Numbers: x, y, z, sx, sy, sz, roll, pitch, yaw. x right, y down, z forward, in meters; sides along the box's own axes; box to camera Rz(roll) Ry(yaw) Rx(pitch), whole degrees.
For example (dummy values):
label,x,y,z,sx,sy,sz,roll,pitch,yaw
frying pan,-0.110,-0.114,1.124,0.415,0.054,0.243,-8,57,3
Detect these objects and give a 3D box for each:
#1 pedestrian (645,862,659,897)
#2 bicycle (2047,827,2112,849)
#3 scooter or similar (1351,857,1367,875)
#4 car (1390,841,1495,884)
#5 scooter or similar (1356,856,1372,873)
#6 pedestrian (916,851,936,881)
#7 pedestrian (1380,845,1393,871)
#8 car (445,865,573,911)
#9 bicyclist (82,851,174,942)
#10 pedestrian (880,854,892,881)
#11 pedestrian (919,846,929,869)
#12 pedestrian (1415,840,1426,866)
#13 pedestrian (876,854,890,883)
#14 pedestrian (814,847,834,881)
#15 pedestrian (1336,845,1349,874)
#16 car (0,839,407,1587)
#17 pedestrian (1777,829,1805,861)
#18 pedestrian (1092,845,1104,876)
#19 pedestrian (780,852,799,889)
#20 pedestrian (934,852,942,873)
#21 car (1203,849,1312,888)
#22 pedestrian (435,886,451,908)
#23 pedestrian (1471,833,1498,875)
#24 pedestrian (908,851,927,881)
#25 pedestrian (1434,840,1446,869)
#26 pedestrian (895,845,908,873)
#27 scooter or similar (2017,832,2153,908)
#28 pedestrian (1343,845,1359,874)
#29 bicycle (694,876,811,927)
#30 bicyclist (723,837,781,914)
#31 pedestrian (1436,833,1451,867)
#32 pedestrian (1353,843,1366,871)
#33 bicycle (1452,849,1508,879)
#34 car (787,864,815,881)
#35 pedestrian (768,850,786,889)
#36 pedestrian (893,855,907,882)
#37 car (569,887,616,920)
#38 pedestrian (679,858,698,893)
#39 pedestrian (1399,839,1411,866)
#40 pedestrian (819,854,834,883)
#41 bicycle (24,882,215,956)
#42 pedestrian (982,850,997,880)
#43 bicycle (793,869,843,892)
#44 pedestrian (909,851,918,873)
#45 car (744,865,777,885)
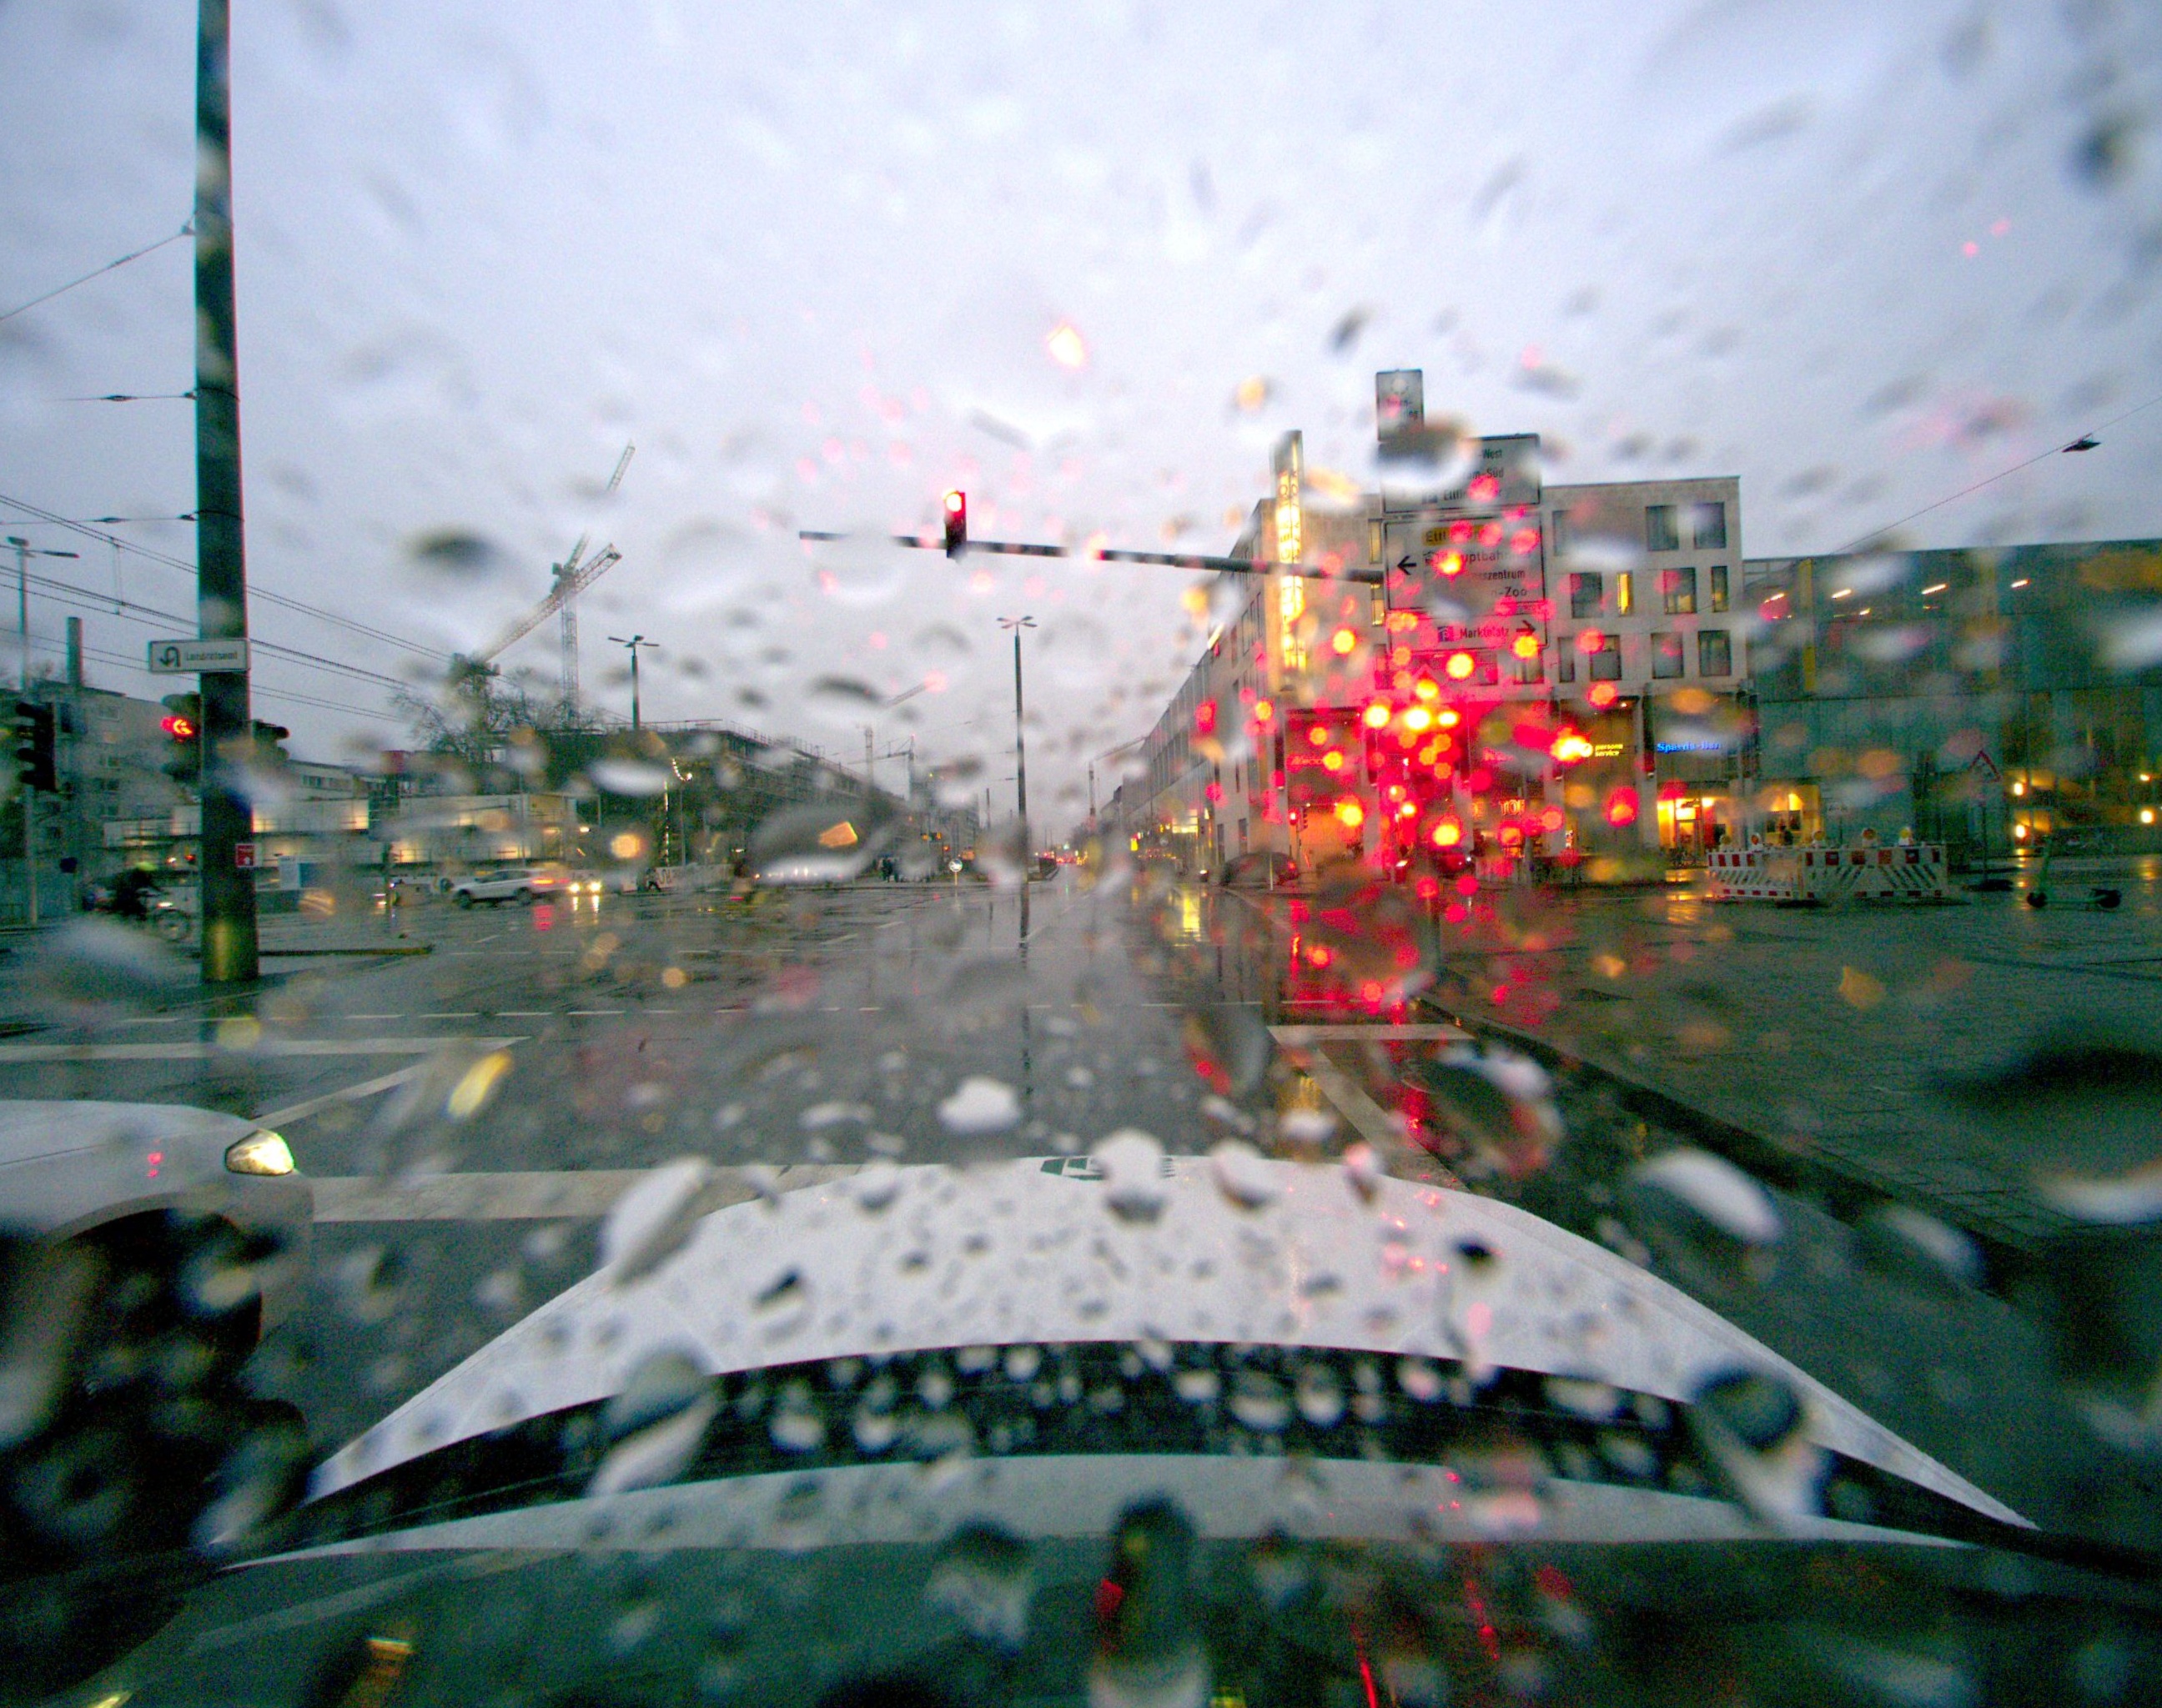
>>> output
label,x,y,z,sx,sy,sz,roll,pitch,yaw
pedestrian,-24.848,1.472,47.185,0.507,2.014,0.638,-2,-1,-9
bicycle,48.587,-0.767,39.663,0.613,1.033,2.138,-2,0,3
scooter or similar,16.383,0.705,47.979,0.738,0.993,0.401,-2,-1,3
car,14.899,0.349,33.659,3.558,1.582,1.676,-2,-1,-1
scooter or similar,16.661,0.608,47.942,0.738,0.993,0.400,-2,-1,2
pedestrian,-8.912,0.668,46.916,0.835,1.688,0.681,-2,-1,25
pedestrian,18.431,0.270,49.147,0.530,1.543,0.505,-3,-1,39
car,-24.838,1.444,35.449,4.286,1.761,1.708,-2,0,2
bicyclist,-20.266,0.886,17.339,0.993,1.839,0.719,-3,-1,-8
pedestrian,-11.680,0.812,48.691,0.611,1.619,0.706,-2,-1,-12
pedestrian,-12.221,0.249,63.459,0.660,1.746,0.733,-2,-1,-9
pedestrian,22.778,-0.086,54.608,0.530,1.718,0.505,-3,-1,39
pedestrian,-12.479,0.907,51.366,0.614,1.746,0.615,-2,-1,16
pedestrian,-12.107,0.494,38.397,0.814,1.570,0.534,-1,-3,-9
pedestrian,16.044,0.337,49.964,0.530,1.718,0.505,-3,-1,39
car,-3.188,0.758,0.177,1.903,1.520,4.923,-2,0,0
pedestrian,36.056,-0.456,41.367,0.791,1.631,0.709,-1,-1,1
pedestrian,0.994,0.371,47.553,0.631,1.772,0.484,-2,-1,0
pedestrian,-16.206,0.913,45.248,0.781,2.013,0.606,-2,-1,-37
pedestrian,-12.629,0.747,71.876,0.660,1.746,0.619,-2,-1,-9
car,7.921,0.665,36.540,4.497,1.574,1.806,-2,0,21
pedestrian,-45.945,3.103,58.651,0.799,1.529,0.639,-2,-1,-33
pedestrian,15.519,0.000,31.357,0.775,1.595,0.616,-2,-1,17
pedestrian,-9.315,0.664,46.356,0.823,1.679,0.623,-2,-1,30
pedestrian,22.038,0.028,50.005,0.510,1.760,0.374,-2,-1,1
pedestrian,-11.619,0.334,52.714,0.617,1.746,0.612,-2,-1,-4
scooter or similar,15.850,0.239,12.897,0.603,1.130,1.236,-2,0,2
pedestrian,15.910,0.310,47.949,0.738,1.667,0.400,-2,-1,2
bicycle,-7.478,1.083,18.616,2.369,1.033,0.616,-2,-1,-6
bicyclist,-7.494,0.478,18.586,1.031,1.697,0.616,-2,-1,-5
pedestrian,18.309,-0.210,41.159,0.530,1.685,0.552,-3,-1,39
pedestrian,17.111,0.168,50.044,0.530,1.718,0.505,-3,-1,39
bicycle,15.388,0.382,31.426,1.831,1.093,0.620,-2,-1,16
car,-35.564,2.334,103.421,1.986,2.013,4.002,-2,0,2
pedestrian,-16.556,0.829,44.349,0.691,2.087,0.606,-2,-1,-39
pedestrian,-10.864,0.854,48.791,0.744,1.607,0.809,-2,-1,-12
car,-33.496,3.359,55.907,1.760,2.013,3.977,-2,0,-17
pedestrian,-22.831,1.243,47.388,0.792,2.013,0.745,-2,-1,-9
pedestrian,20.888,-0.092,52.543,0.530,1.718,0.505,-3,-1,39
pedestrian,-14.608,0.824,46.754,0.682,1.619,0.703,-2,-1,-27
bicycle,-20.408,1.358,17.339,2.829,1.362,0.719,-3,-1,-8
pedestrian,-5.370,0.640,47.918,0.700,1.760,0.652,-2,-1,1
bicycle,-12.359,1.244,38.322,2.126,0.991,0.540,-2,-4,-7
pedestrian,-13.508,0.660,65.626,0.610,1.746,0.620,-2,-1,-4
car,-35.075,2.250,89.201,1.988,2.013,3.997,-2,0,-2
